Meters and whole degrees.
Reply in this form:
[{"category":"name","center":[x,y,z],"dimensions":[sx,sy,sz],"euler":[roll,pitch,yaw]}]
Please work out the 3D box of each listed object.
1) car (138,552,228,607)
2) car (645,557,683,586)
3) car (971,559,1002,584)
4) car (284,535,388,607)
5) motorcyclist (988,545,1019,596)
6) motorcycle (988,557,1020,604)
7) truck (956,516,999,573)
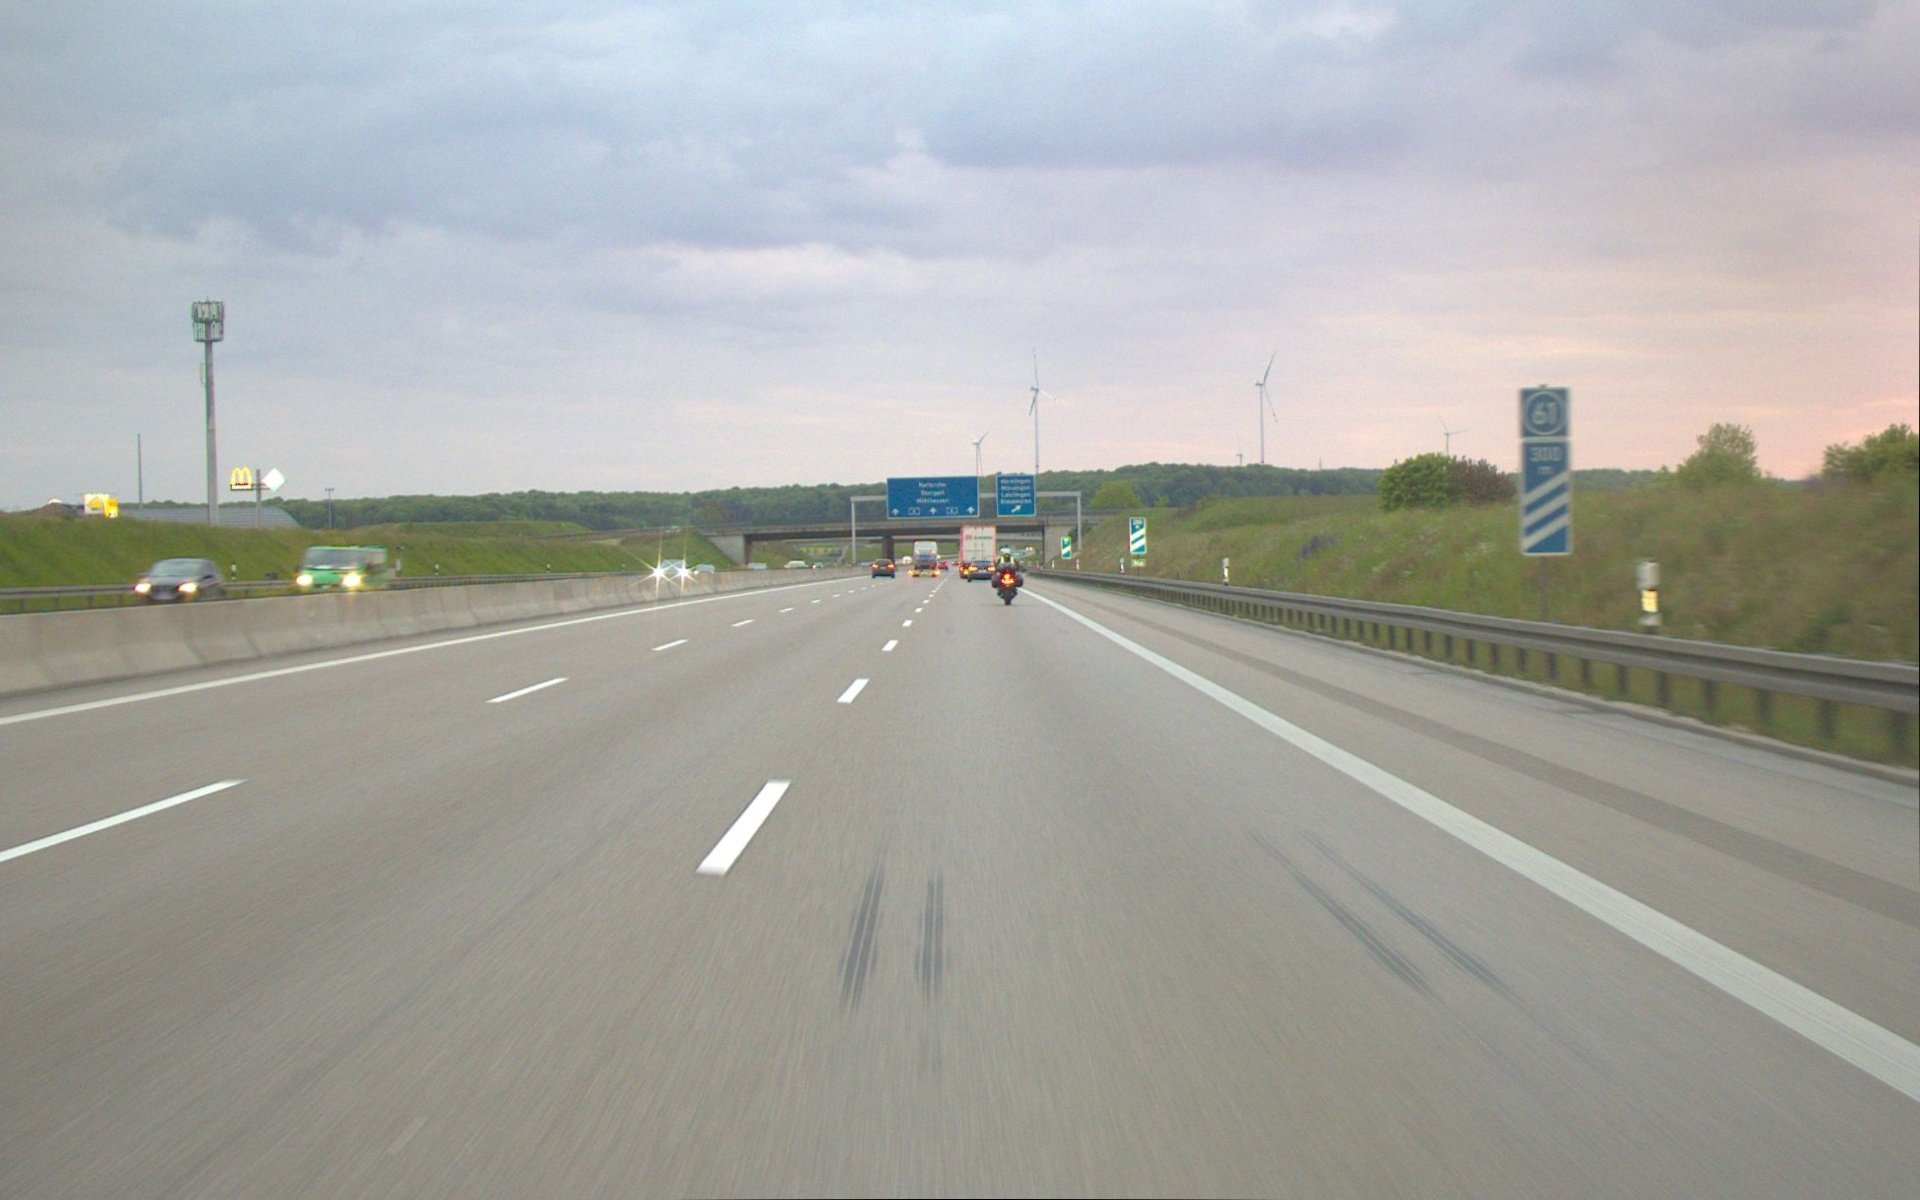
[{"category":"car","center":[-22.121,-0.606,97.993],"dimensions":[1.630,1.512,4.427],"euler":[0,1,-1]},{"category":"car","center":[-18.881,-1.814,219.356],"dimensions":[2.099,1.804,5.022],"euler":[0,1,-2]},{"category":"car","center":[1.709,-1.847,220.797],"dimensions":[1.918,1.574,4.000],"euler":[0,1,-1]},{"category":"car","center":[-18.039,-0.878,99.692],"dimensions":[2.003,2.007,5.737],"euler":[0,1,0]},{"category":"motorcyclist","center":[1.284,-0.872,101.086],"dimensions":[0.866,1.482,1.168],"euler":[1,1,2]},{"category":"motorcycle","center":[1.286,-0.586,101.198],"dimensions":[0.902,1.342,2.349],"euler":[0,1,0]},{"category":"truck","center":[1.351,-4.284,264.379],"dimensions":[3.234,4.213,9.599],"euler":[1,1,0]}]
